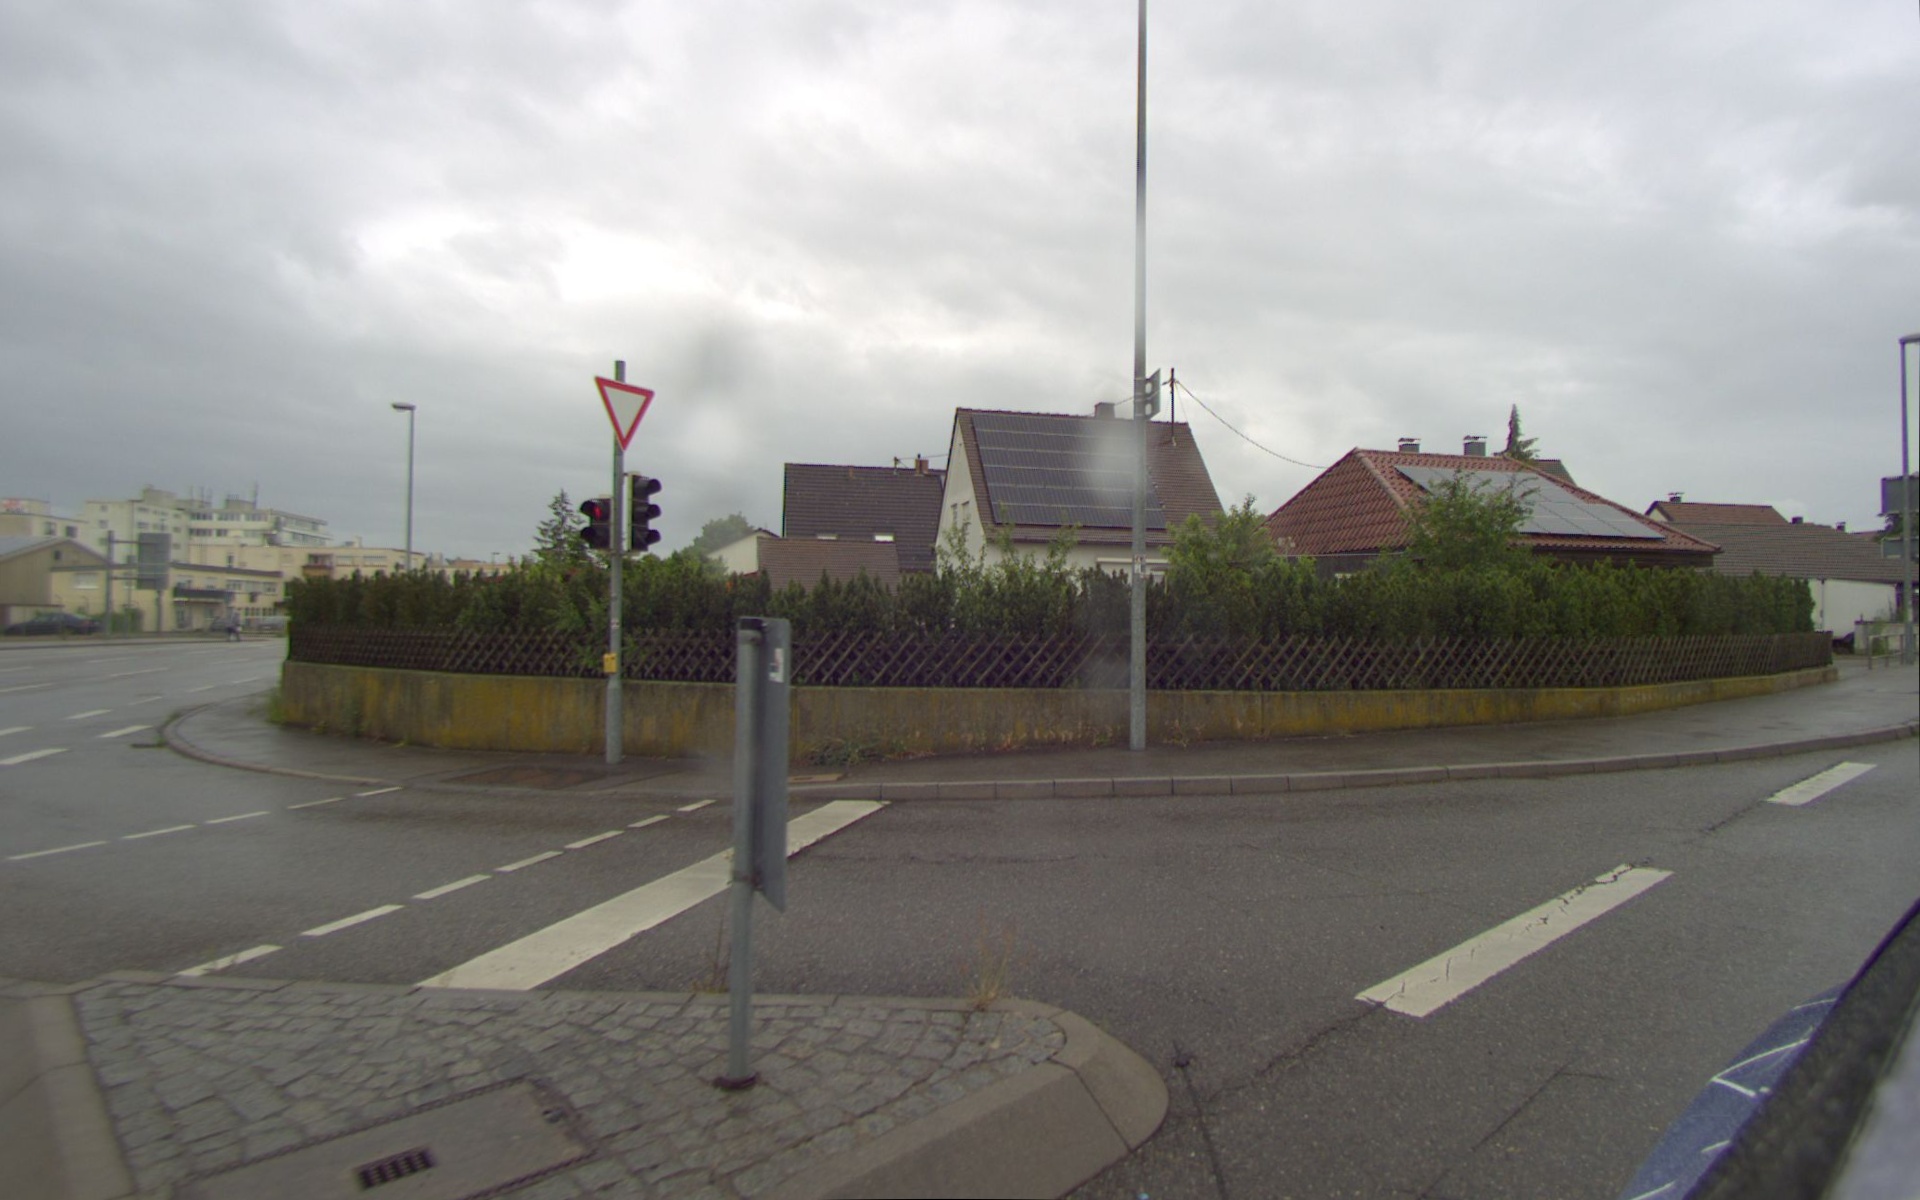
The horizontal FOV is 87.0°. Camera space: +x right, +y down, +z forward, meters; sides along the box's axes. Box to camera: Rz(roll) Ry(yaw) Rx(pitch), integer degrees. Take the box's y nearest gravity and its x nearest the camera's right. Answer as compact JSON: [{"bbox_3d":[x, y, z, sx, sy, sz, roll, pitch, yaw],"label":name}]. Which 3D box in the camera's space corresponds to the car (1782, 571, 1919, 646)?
[{"bbox_3d":[29.428,0.259,33.270,3.916,2.380,1.657,0,0,-13],"label":"car"}]

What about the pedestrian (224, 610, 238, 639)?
[{"bbox_3d":[-43.145,1.470,59.888,0.685,1.686,0.677,0,-1,-35],"label":"pedestrian"}]

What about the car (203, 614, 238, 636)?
[{"bbox_3d":[-63.010,2.138,86.292,1.960,1.750,4.003,0,0,-30],"label":"car"}]

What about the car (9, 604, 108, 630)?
[{"bbox_3d":[-52.848,0.986,59.378,3.919,1.471,2.002,0,0,-6],"label":"car"}]
